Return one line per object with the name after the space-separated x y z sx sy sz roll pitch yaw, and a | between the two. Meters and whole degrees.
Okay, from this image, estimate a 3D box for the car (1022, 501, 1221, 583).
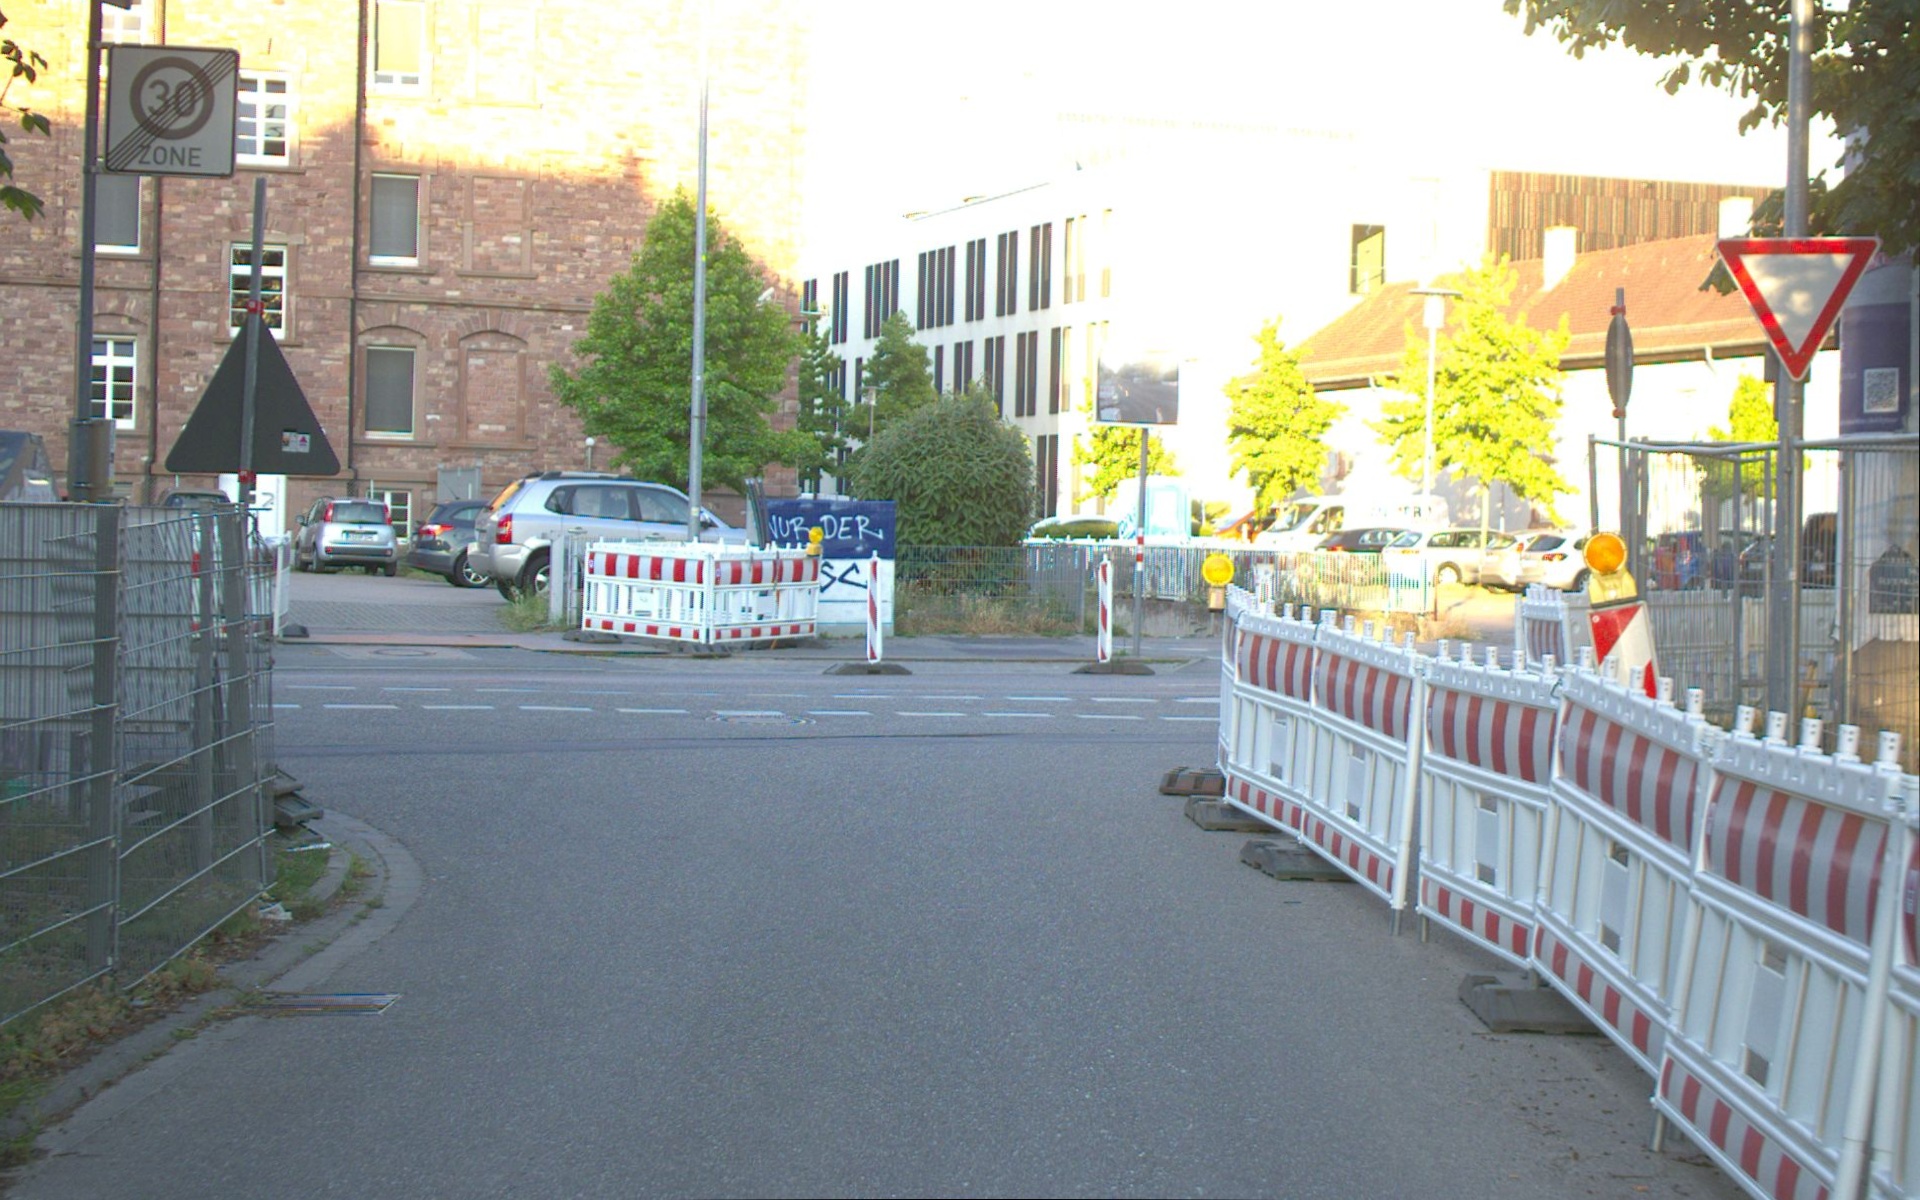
3.366 -1.212 71.670 3.739 1.597 1.687 1 1 -21 | car

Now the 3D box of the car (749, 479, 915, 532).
-3.376 -2.485 90.421 3.986 1.308 1.878 1 1 -18 | car

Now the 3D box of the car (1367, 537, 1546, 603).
11.510 -0.698 79.703 3.739 1.440 1.687 1 1 -21 | car

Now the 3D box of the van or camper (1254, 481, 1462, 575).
10.061 -1.802 86.973 4.961 2.233 1.687 1 1 -21 | van or camper

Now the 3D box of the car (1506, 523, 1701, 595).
13.777 -0.881 73.573 3.739 1.440 1.687 1 1 -21 | car

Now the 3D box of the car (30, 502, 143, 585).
-17.148 -1.123 67.383 1.896 1.532 4.181 1 1 -17 | car

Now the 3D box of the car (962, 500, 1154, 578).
2.117 -1.317 74.339 3.739 1.597 1.687 1 1 -21 | car

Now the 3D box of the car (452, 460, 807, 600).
-4.278 -0.892 44.448 4.268 1.703 1.703 1 1 -18 | car

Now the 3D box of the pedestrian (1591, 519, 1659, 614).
11.699 -0.595 60.520 0.749 1.637 1.015 1 1 -17 | pedestrian

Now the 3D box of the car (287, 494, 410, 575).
-12.265 -1.325 68.766 1.896 1.532 4.181 1 1 -17 | car

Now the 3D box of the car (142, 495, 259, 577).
-15.058 -1.286 68.050 1.896 1.532 4.181 1 1 -17 | car

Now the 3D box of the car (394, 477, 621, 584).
-7.542 -1.159 57.224 3.474 1.703 1.669 1 1 -18 | car

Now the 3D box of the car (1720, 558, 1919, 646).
16.616 0.044 64.781 3.986 1.567 2.001 1 1 -21 | car

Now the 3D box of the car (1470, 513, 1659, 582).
13.386 -1.166 76.154 3.739 1.440 1.687 1 1 -21 | car
